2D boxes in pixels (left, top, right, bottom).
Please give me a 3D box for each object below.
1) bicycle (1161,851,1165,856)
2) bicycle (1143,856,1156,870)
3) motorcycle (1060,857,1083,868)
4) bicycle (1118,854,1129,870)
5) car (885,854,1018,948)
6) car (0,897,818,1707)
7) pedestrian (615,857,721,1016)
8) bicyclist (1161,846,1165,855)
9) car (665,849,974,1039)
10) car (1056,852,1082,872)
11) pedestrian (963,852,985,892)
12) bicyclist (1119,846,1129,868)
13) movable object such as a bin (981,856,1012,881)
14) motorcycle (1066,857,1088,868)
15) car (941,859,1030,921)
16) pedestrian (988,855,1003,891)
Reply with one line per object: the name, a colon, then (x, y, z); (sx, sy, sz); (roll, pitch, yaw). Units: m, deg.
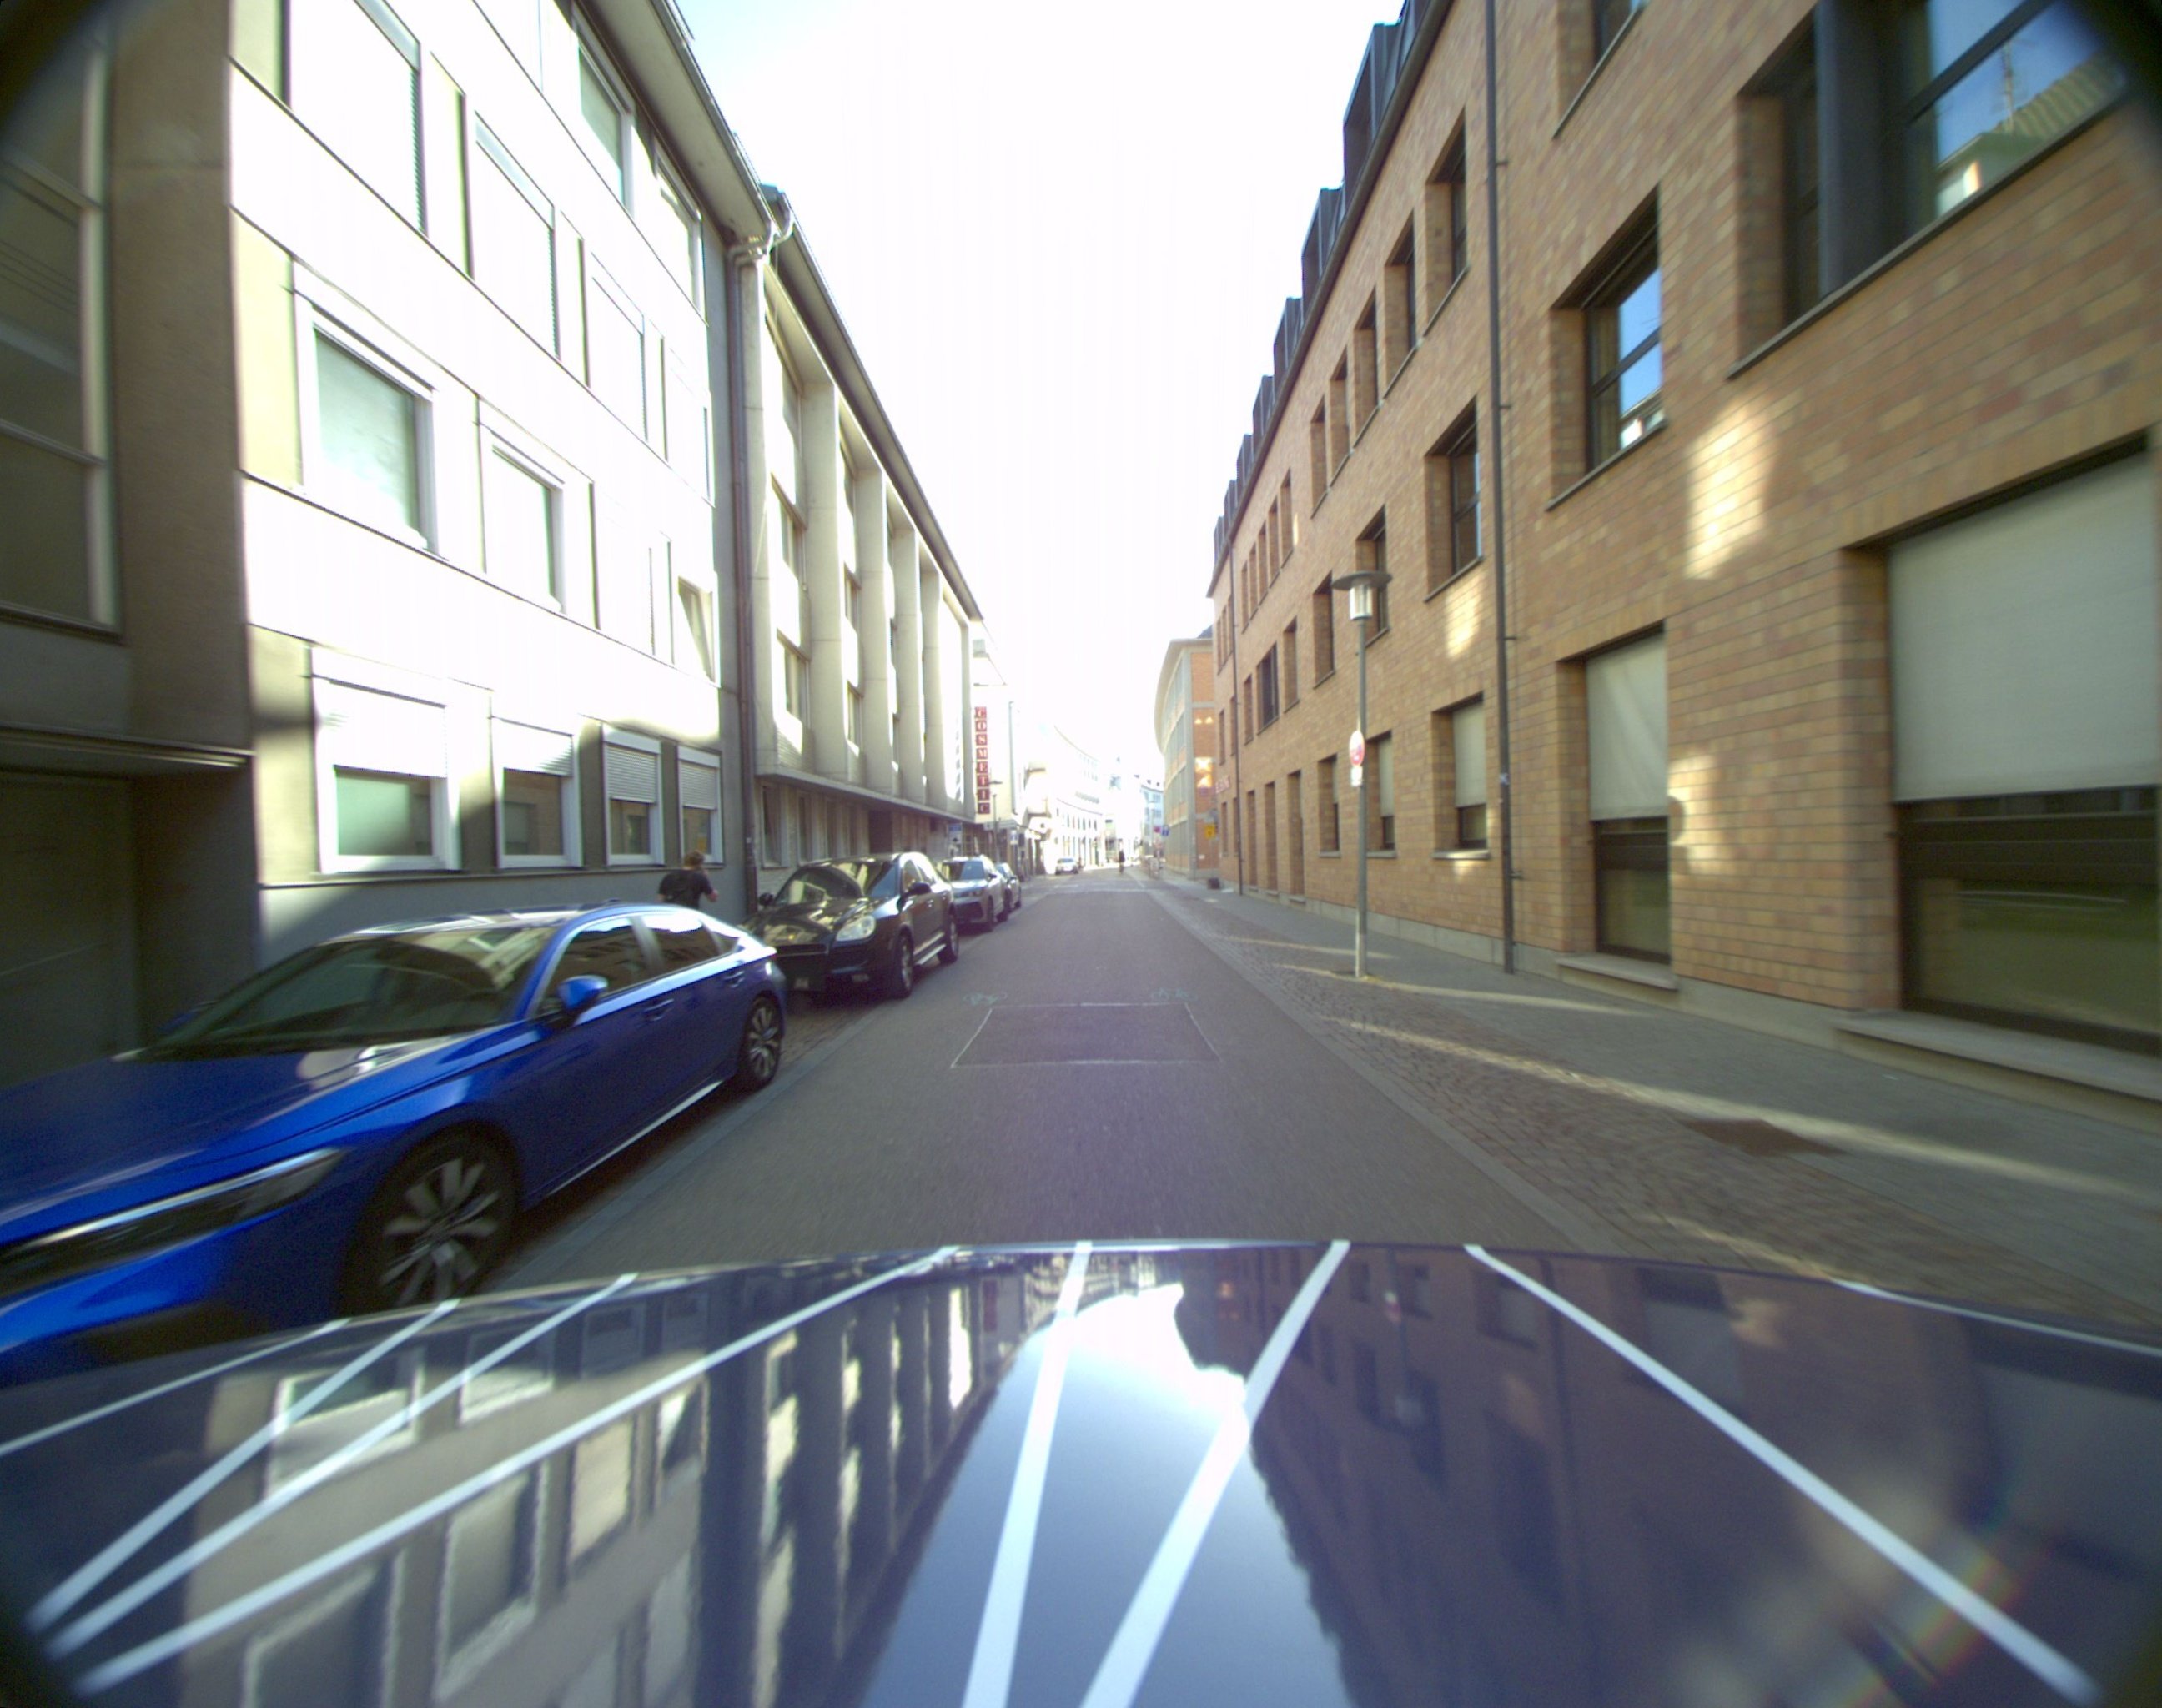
bicycle: (12.666, -0.069, 117.259); (0.524, 0.843, 1.491); (-2, 1, 8)
bicycle: (5.221, 0.673, 57.818); (0.628, 1.048, 1.822); (-2, 1, -4)
motorcycle: (-0.857, 0.813, 70.463); (1.995, 0.950, 0.646); (-2, 1, 16)
bicycle: (3.148, 0.602, 56.423); (0.652, 1.125, 1.735); (2, 1, 1)
car: (-2.771, 0.922, 17.458); (1.998, 1.692, 4.843); (-4, 0, 1)
car: (-3.123, 1.138, 3.876); (1.812, 1.404, 4.789); (-4, 0, 0)
pedestrian: (-4.653, 0.897, 8.610); (0.790, 1.711, 0.746); (0, 1, 1)
bicyclist: (12.682, -0.532, 117.310); (0.472, 1.495, 0.795); (-2, 1, 6)
car: (-2.949, 0.878, 10.053); (2.108, 1.775, 5.052); (-3, 0, 2)
car: (-0.968, 0.631, 63.241); (1.846, 1.453, 3.999); (-3, 0, 3)
pedestrian: (-4.710, 0.802, 33.414); (0.623, 1.726, 0.625); (-3, 1, -45)
bicyclist: (3.164, 0.233, 56.479); (0.664, 1.633, 0.925); (2, 2, 1)
movable object such as a bin: (-5.118, 0.873, 45.857); (1.437, 1.454, 1.126); (-3, 1, -40)
motorcycle: (-0.410, 0.853, 74.356); (1.995, 0.950, 0.646); (-2, 1, 16)
car: (-2.738, 0.992, 22.875); (1.827, 1.496, 4.600); (-5, 0, 2)
pedestrian: (-3.716, 0.824, 33.029); (0.574, 1.532, 0.440); (0, 1, -15)
